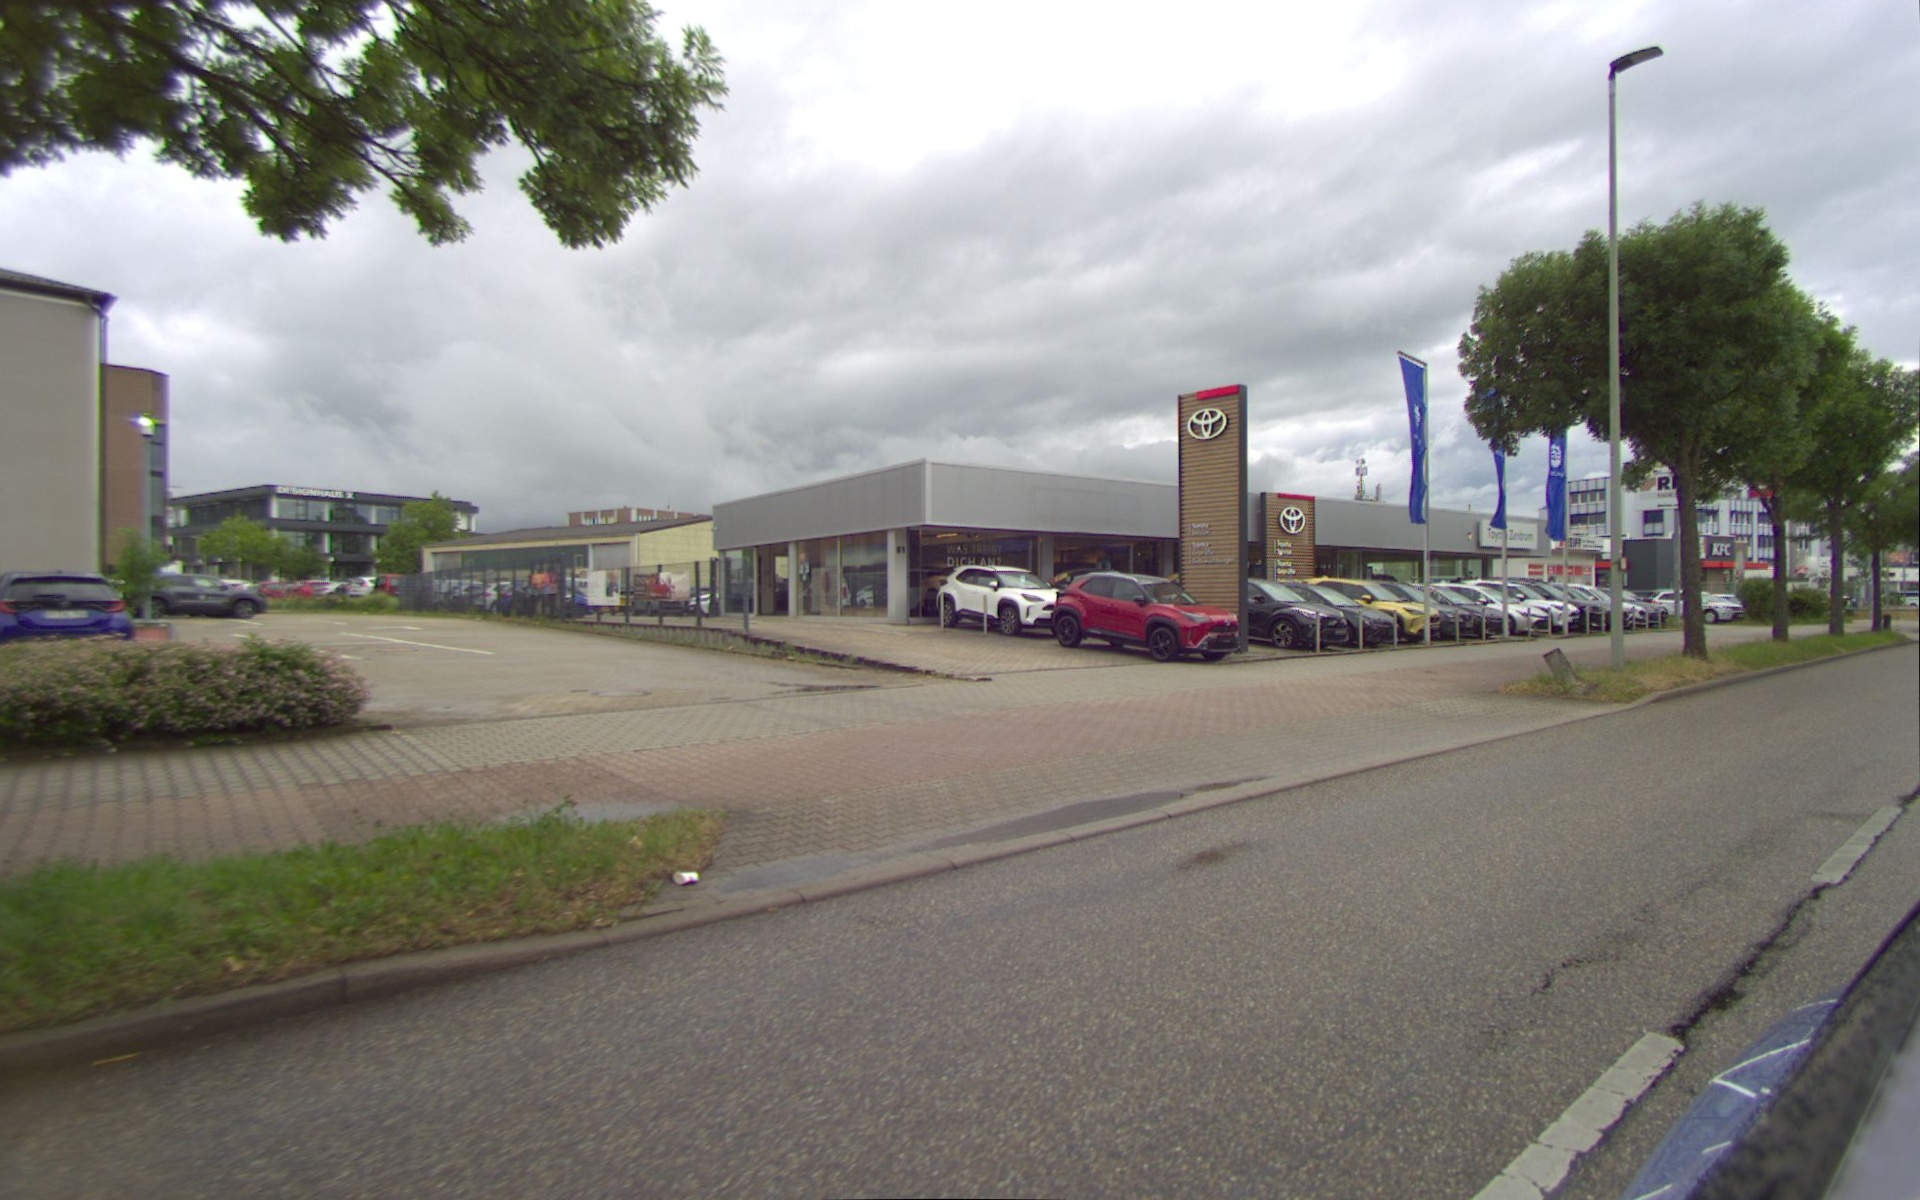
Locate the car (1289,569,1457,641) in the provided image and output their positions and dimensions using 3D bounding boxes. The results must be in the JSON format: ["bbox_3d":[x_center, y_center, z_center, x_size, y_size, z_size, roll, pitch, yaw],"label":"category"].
[{"bbox_3d":[11.120,0.080,27.452,1.638,1.584,3.847,0,5,-41],"label":"car"}]

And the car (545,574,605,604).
[{"bbox_3d":[-27.227,-0.797,71.522,4.062,2.039,1.774,1,1,30],"label":"car"}]

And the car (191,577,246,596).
[{"bbox_3d":[-57.962,-1.068,79.127,1.416,1.508,3.186,1,1,28],"label":"car"}]

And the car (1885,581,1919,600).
[{"bbox_3d":[100.875,-0.986,106.457,1.958,2.039,4.797,1,1,-22],"label":"car"}]

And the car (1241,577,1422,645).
[{"bbox_3d":[9.345,0.227,25.702,1.767,1.558,3.997,0,1,-39],"label":"car"}]

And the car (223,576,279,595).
[{"bbox_3d":[-53.519,-1.081,76.431,1.492,1.405,3.186,1,1,28],"label":"car"}]

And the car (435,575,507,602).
[{"bbox_3d":[-26.513,-0.599,54.900,3.277,1.388,1.336,0,-1,-40],"label":"car"}]

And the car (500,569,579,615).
[{"bbox_3d":[-16.075,-0.279,38.618,1.756,1.664,3.658,1,-1,-40],"label":"car"}]

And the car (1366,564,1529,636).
[{"bbox_3d":[14.705,-0.043,30.698,1.778,1.807,4.002,0,5,-37],"label":"car"}]

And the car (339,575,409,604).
[{"bbox_3d":[-38.030,-0.697,65.777,1.605,1.822,3.659,1,1,28],"label":"car"}]

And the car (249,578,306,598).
[{"bbox_3d":[-49.900,-0.876,74.039,1.492,1.405,3.186,1,1,28],"label":"car"}]

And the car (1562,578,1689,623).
[{"bbox_3d":[26.608,-0.009,40.547,1.795,1.478,3.844,0,5,-39],"label":"car"}]

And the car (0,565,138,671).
[{"bbox_3d":[-14.753,0.225,16.415,3.987,1.534,1.732,1,1,44],"label":"car"}]

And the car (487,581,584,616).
[{"bbox_3d":[-17.611,-0.072,42.036,3.429,1.383,1.464,0,-1,-40],"label":"car"}]

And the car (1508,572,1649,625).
[{"bbox_3d":[22.874,-0.089,37.535,1.778,1.603,4.002,0,5,-37],"label":"car"}]

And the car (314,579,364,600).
[{"bbox_3d":[-42.034,-0.714,68.519,1.224,1.356,2.690,1,1,28],"label":"car"}]

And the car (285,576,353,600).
[{"bbox_3d":[-44.222,-0.871,69.848,1.605,1.620,3.659,1,1,28],"label":"car"}]

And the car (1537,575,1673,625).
[{"bbox_3d":[24.794,-0.039,39.020,1.778,1.561,4.002,0,5,-37],"label":"car"}]

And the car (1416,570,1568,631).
[{"bbox_3d":[17.199,-0.030,32.892,1.778,1.809,3.999,0,2,-37],"label":"car"}]

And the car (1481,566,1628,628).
[{"bbox_3d":[20.976,-0.160,35.827,1.778,1.807,4.002,0,5,-37],"label":"car"}]

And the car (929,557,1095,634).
[{"bbox_3d":[1.163,-0.164,24.356,1.845,1.641,4.124,0,2,-35],"label":"car"}]

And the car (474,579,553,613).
[{"bbox_3d":[-20.544,-0.179,46.584,3.093,1.473,1.336,0,-1,-40],"label":"car"}]

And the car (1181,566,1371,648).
[{"bbox_3d":[7.483,0.110,24.291,1.812,1.667,3.998,0,3,-39],"label":"car"}]

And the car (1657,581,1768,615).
[{"bbox_3d":[37.728,-0.114,50.844,1.943,1.617,4.077,0,1,-18],"label":"car"}]

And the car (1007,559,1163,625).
[{"bbox_3d":[3.421,-0.232,27.394,4.047,1.641,1.879,0,2,-38],"label":"car"}]

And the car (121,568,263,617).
[{"bbox_3d":[-27.818,-0.276,36.748,1.669,1.687,3.936,1,1,45],"label":"car"}]

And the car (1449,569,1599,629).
[{"bbox_3d":[19.143,-0.061,34.491,1.780,1.606,3.999,1,5,-40],"label":"car"}]

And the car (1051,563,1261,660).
[{"bbox_3d":[3.790,0.150,20.142,1.763,1.623,3.852,0,3,-38],"label":"car"}]

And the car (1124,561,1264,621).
[{"bbox_3d":[6.926,-0.278,29.807,4.047,1.641,1.879,0,2,-38],"label":"car"}]

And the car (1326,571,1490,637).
[{"bbox_3d":[12.864,0.055,29.267,1.679,1.565,4.001,0,4,-37],"label":"car"}]

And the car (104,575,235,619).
[{"bbox_3d":[-31.299,-0.133,40.114,1.669,1.687,3.936,1,1,45],"label":"car"}]
